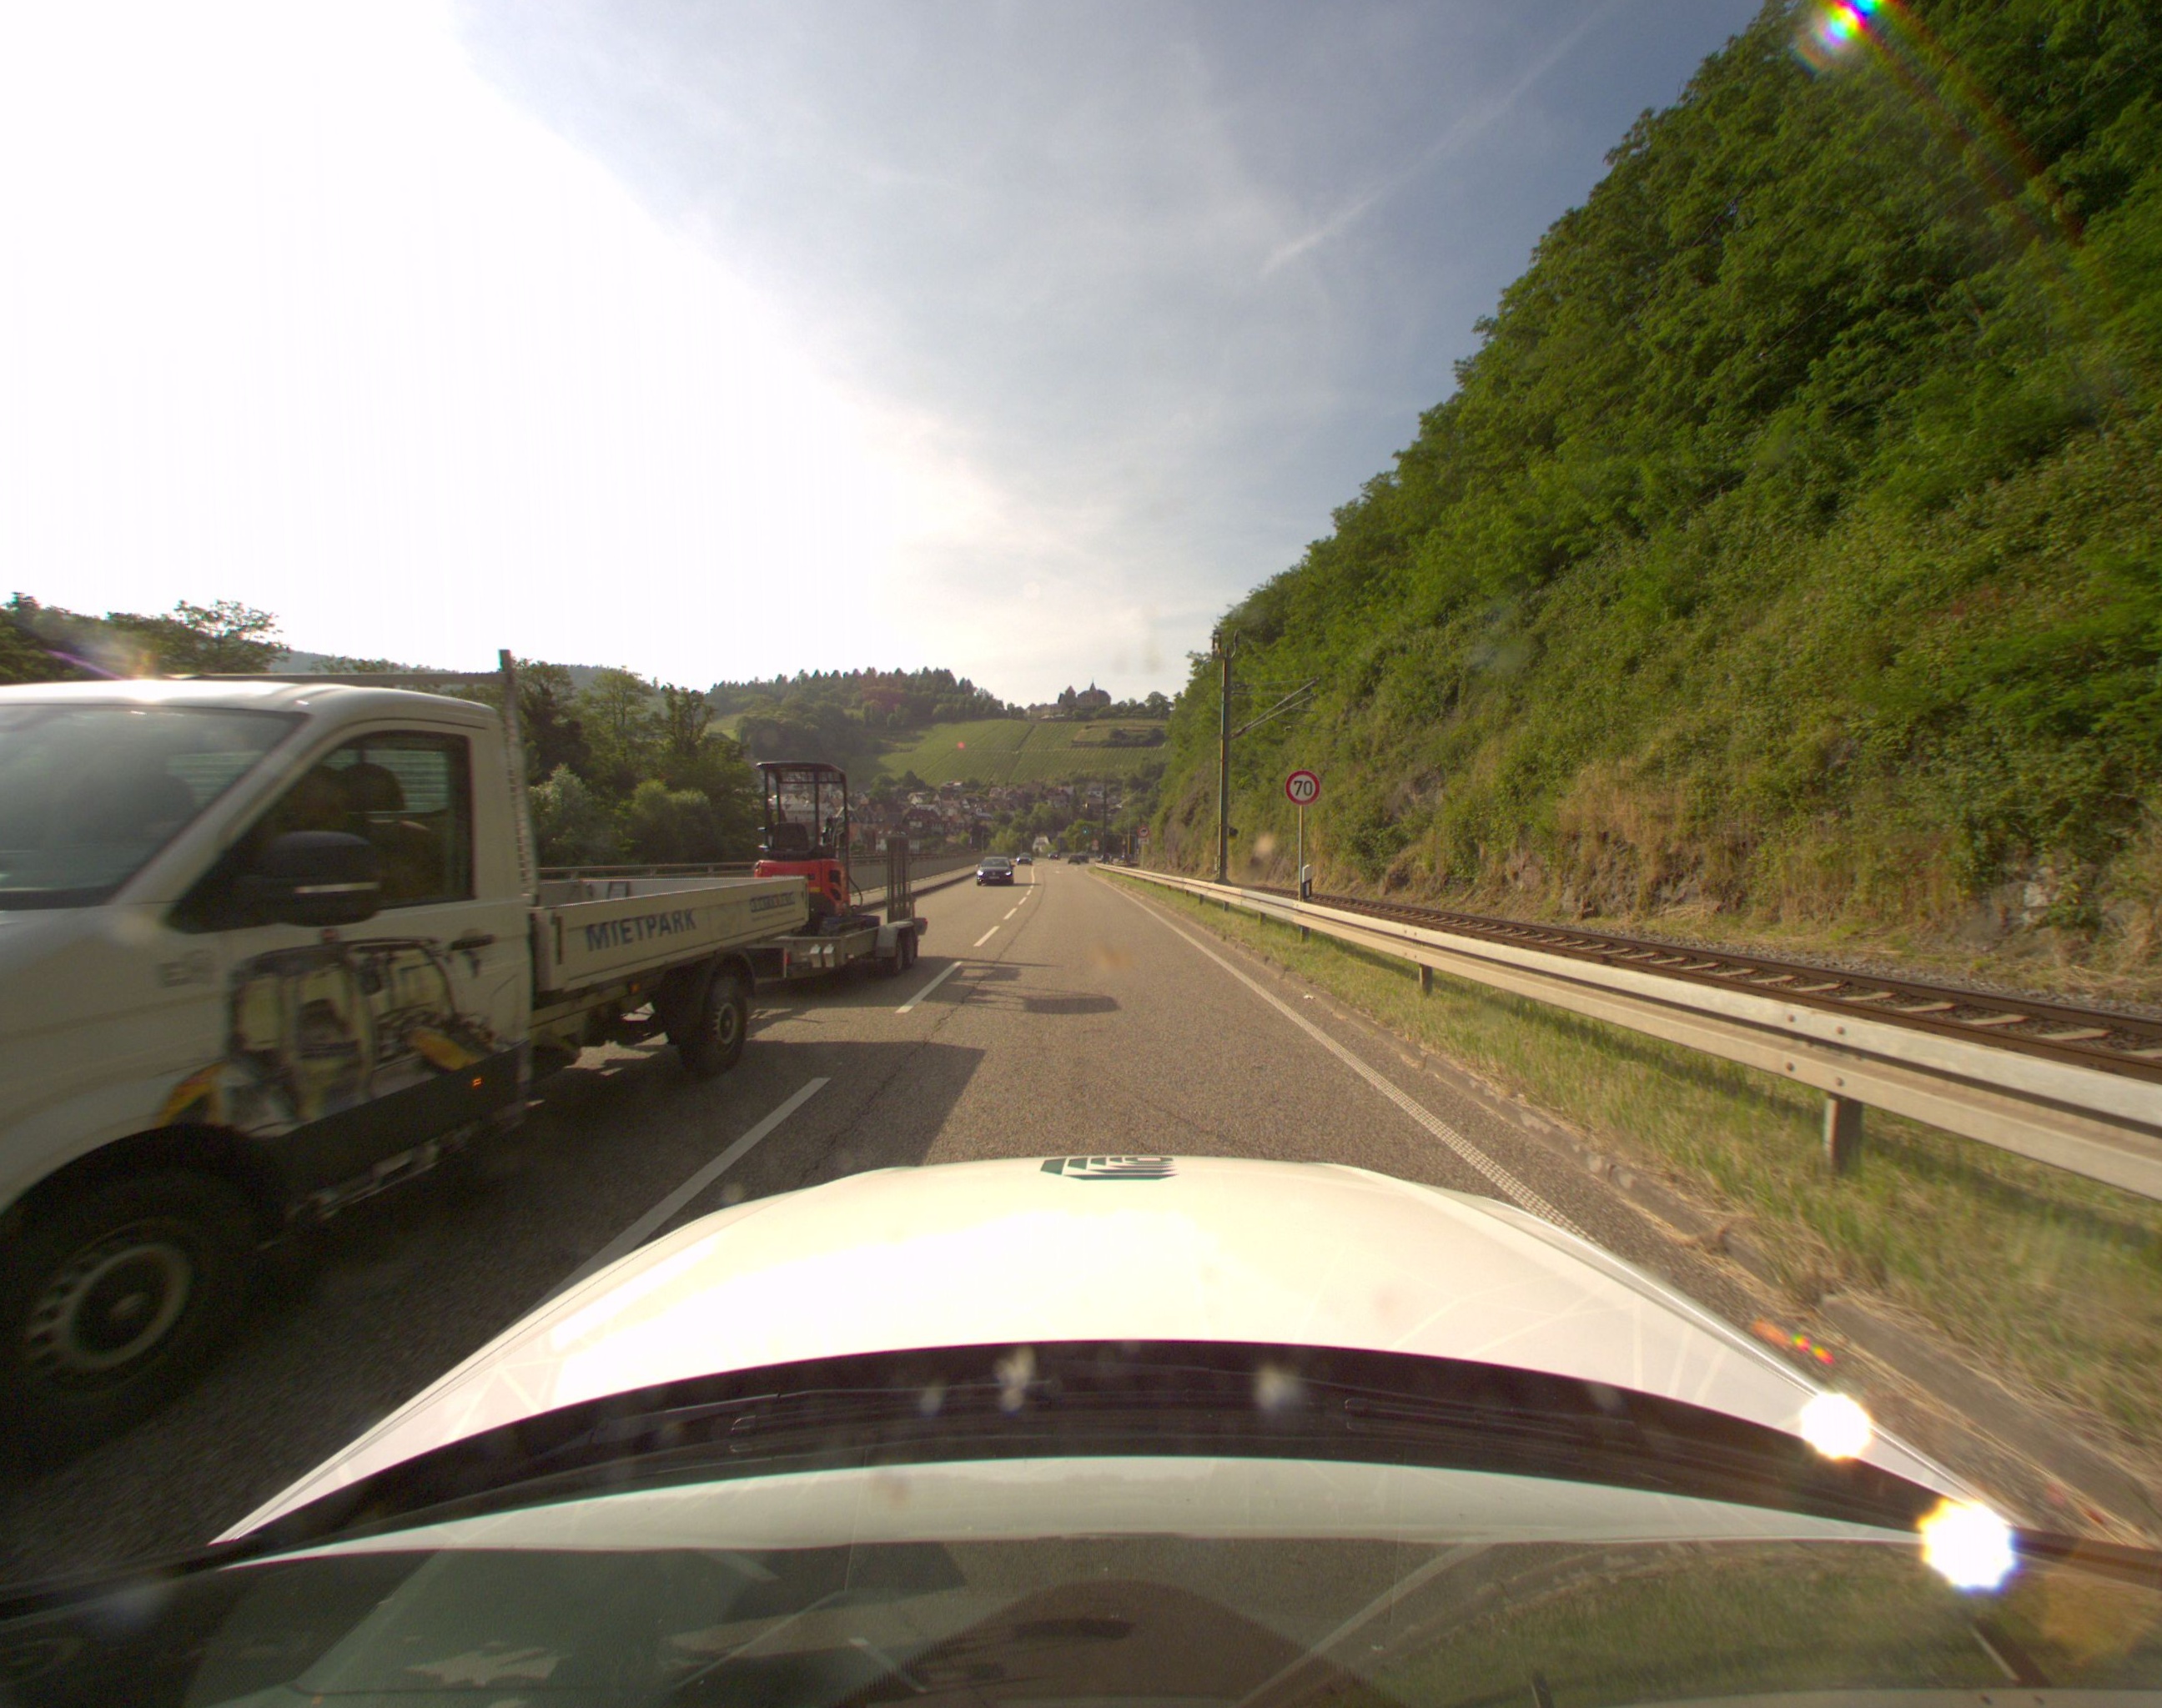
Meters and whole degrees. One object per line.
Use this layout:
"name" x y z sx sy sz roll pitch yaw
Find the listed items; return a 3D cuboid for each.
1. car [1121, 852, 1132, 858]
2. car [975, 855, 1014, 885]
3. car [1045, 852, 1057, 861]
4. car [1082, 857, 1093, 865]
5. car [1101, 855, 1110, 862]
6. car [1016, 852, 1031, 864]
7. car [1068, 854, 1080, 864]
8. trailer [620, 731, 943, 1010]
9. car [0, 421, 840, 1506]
"car" 10.841 0.282 193.366 1.795 1.408 3.788 0 -1 15
"car" -4.391 0.788 41.787 1.699 1.431 4.071 0 -1 -2
"car" -5.737 0.459 155.406 1.784 1.828 4.831 1 0 2
"car" 1.060 1.229 142.210 1.835 1.459 3.710 0 -1 -2
"car" 5.159 0.956 171.561 1.798 1.453 3.651 0 -1 5
"car" -7.088 0.456 100.110 1.716 1.435 4.335 0 0 -3
"car" -1.005 0.816 122.871 1.722 1.457 3.411 0 -1 1
"trailer" -3.394 0.172 10.653 2.114 2.716 5.349 -1 0 1
"car" -3.523 0.266 4.658 2.150 2.531 6.580 -1 0 1
